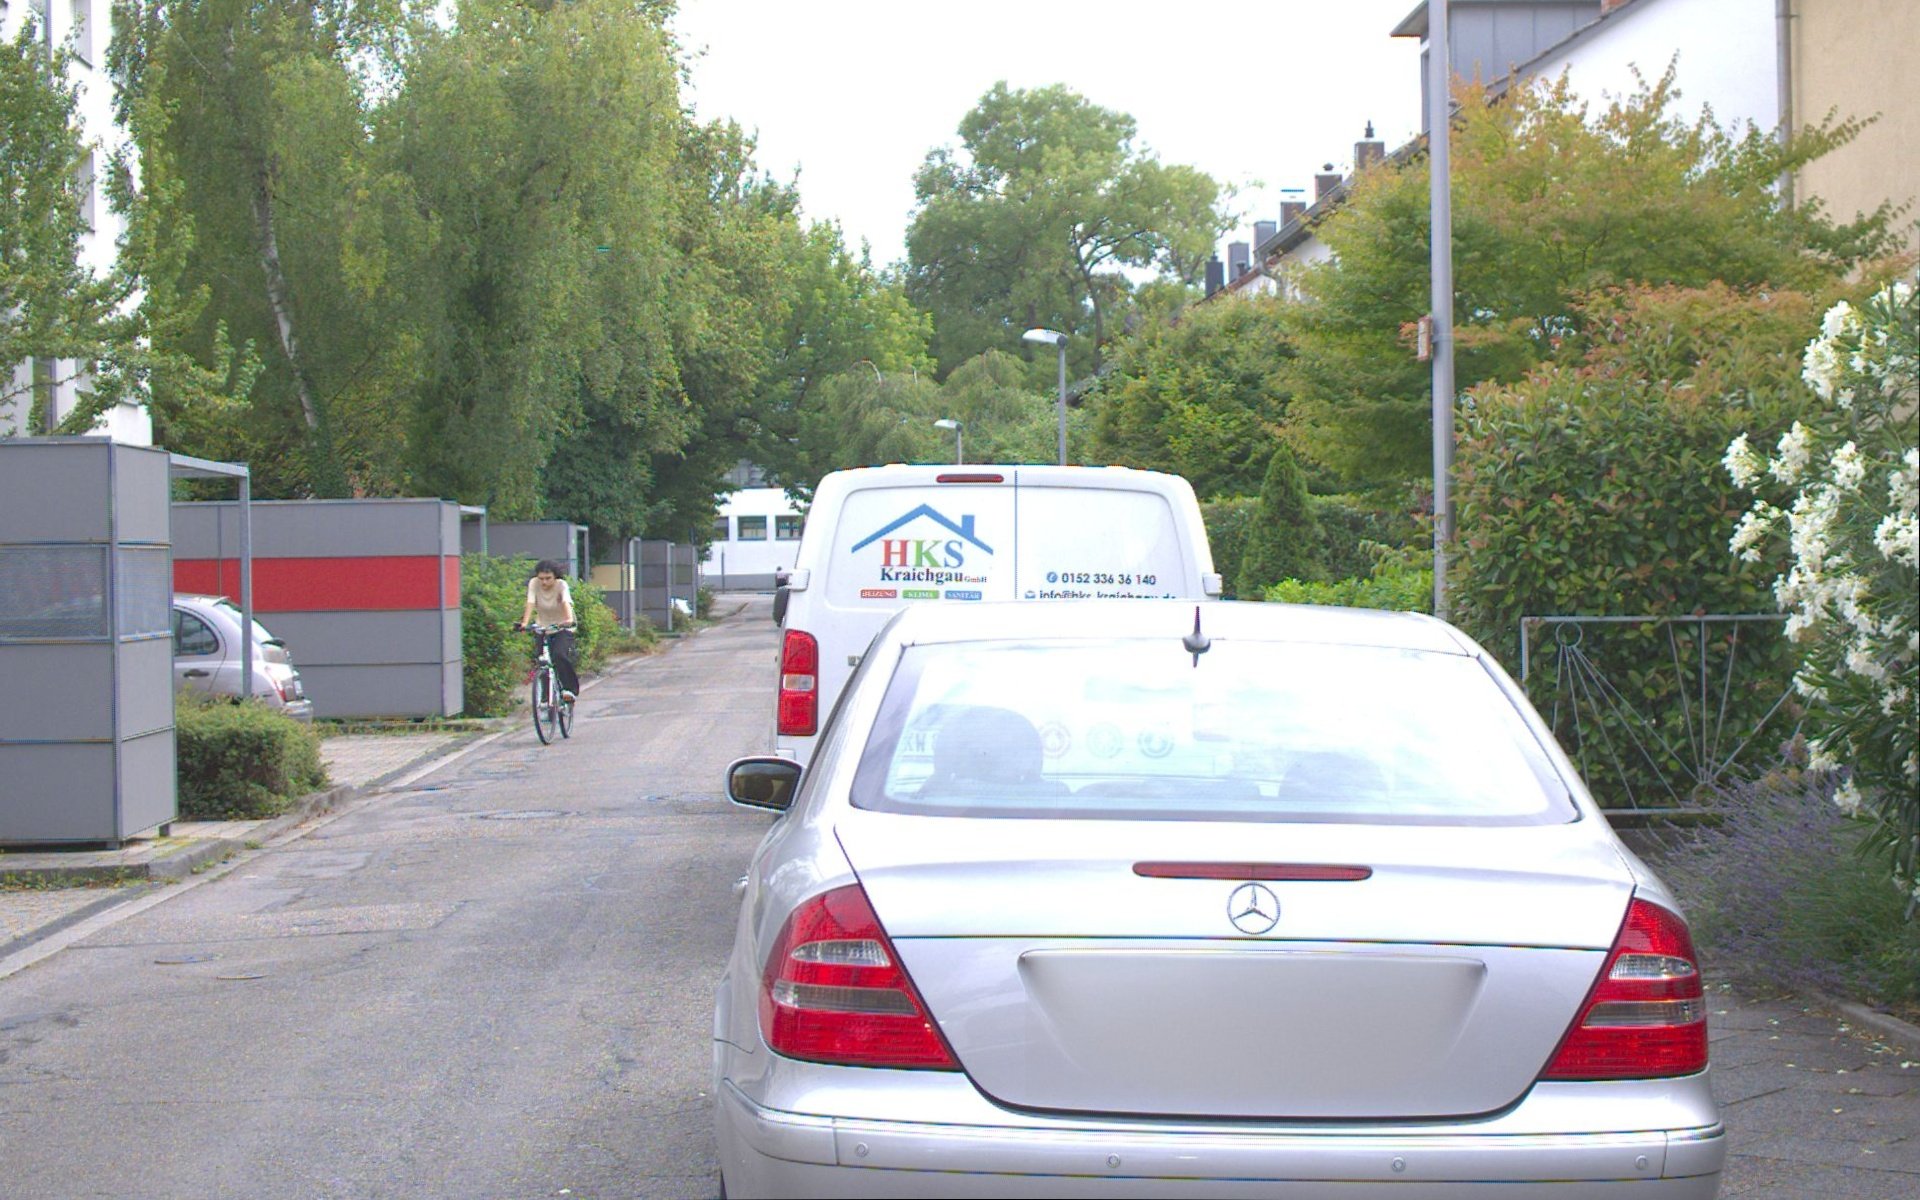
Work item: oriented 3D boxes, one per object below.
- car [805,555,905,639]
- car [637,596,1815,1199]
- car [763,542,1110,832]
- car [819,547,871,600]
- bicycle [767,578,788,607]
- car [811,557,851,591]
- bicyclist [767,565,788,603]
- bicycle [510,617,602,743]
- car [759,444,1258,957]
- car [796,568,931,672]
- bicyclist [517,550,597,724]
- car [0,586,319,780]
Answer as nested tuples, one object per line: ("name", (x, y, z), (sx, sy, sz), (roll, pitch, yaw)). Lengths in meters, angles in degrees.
("car", (-2.092, -0.088, 67.761), (1.825, 1.576, 4.001), (1, 1, -4))
("car", (0.381, 0.725, 7.452), (1.783, 1.416, 4.455), (0, 1, -1))
("car", (-0.249, 0.474, 21.479), (1.824, 1.630, 4.163), (0, 1, -5))
("car", (-4.146, -0.968, 124.411), (1.825, 1.877, 4.000), (1, 1, -2))
("bicycle", (-7.303, -0.305, 137.614), (0.689, 1.127, 2.579), (1, 0, 0))
("car", (-6.192, -1.281, 165.336), (1.825, 1.576, 4.000), (1, 1, -2))
("bicyclist", (-7.308, -0.625, 137.589), (0.798, 1.506, 0.934), (1, 0, 0))
("bicycle", (-3.729, 0.725, 31.877), (0.597, 1.072, 2.042), (-2, 1, -1))
("car", (0.062, 0.364, 15.821), (1.903, 1.958, 5.254), (0, 1, -3))
("car", (-1.374, 0.254, 49.028), (1.825, 1.365, 4.331), (1, 1, -2))
("bicyclist", (-3.742, 0.337, 31.956), (0.597, 1.575, 0.767), (-2, 0, -1))
("car", (-7.281, 0.691, 28.858), (3.561, 1.475, 1.711), (-2, 1, -6))
